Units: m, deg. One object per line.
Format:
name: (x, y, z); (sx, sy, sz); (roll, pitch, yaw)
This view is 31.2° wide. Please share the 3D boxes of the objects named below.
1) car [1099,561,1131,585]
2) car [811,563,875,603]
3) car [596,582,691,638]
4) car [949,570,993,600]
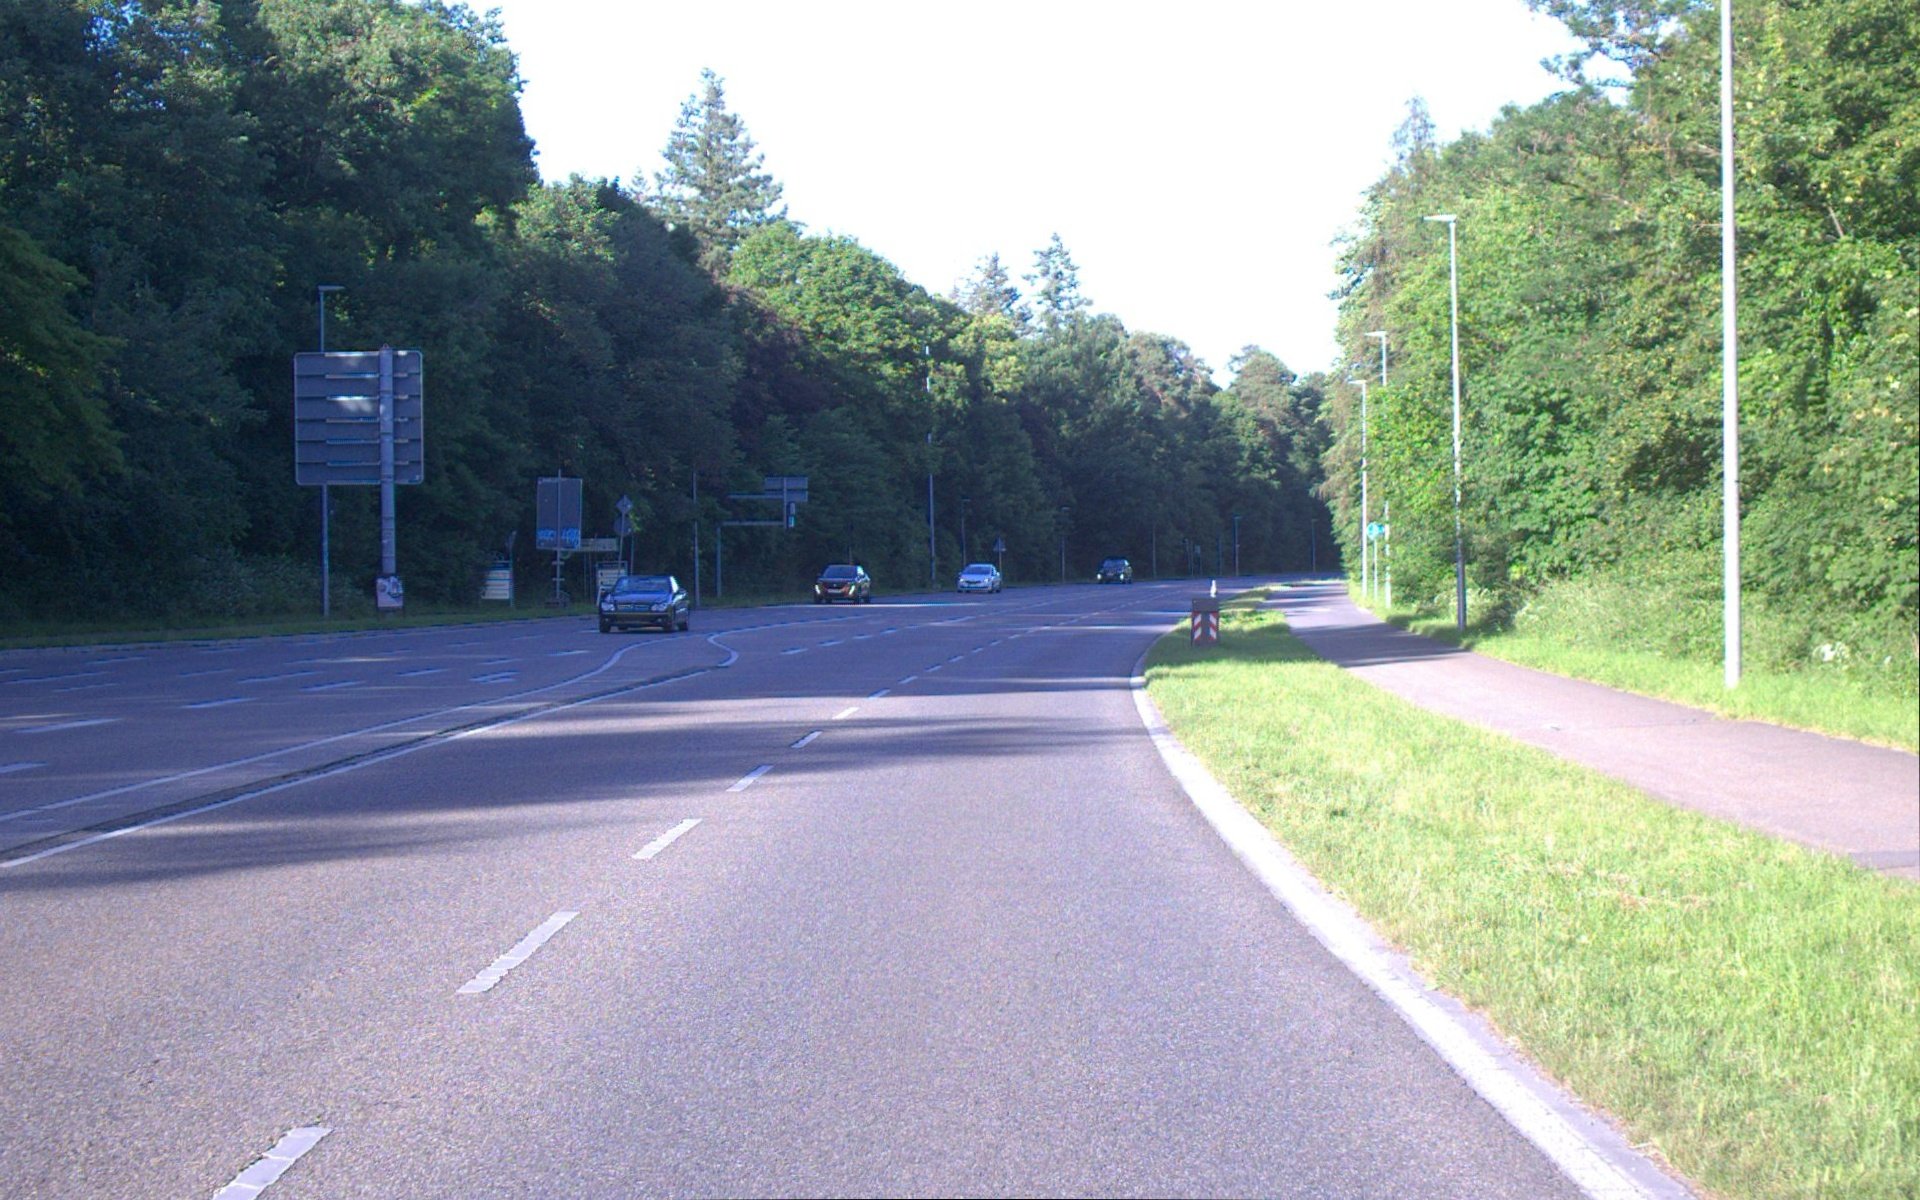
car: (10.311, -1.820, 228.652); (1.825, 1.584, 4.350); (0, 1, 6)
car: (-4.580, -0.664, 134.801); (1.825, 1.539, 4.255); (0, 1, 8)
car: (-7.450, 0.223, 81.260); (1.744, 1.230, 4.673); (-1, 1, 1)
car: (0.564, -0.790, 175.395); (1.825, 1.499, 4.305); (0, 1, 6)
